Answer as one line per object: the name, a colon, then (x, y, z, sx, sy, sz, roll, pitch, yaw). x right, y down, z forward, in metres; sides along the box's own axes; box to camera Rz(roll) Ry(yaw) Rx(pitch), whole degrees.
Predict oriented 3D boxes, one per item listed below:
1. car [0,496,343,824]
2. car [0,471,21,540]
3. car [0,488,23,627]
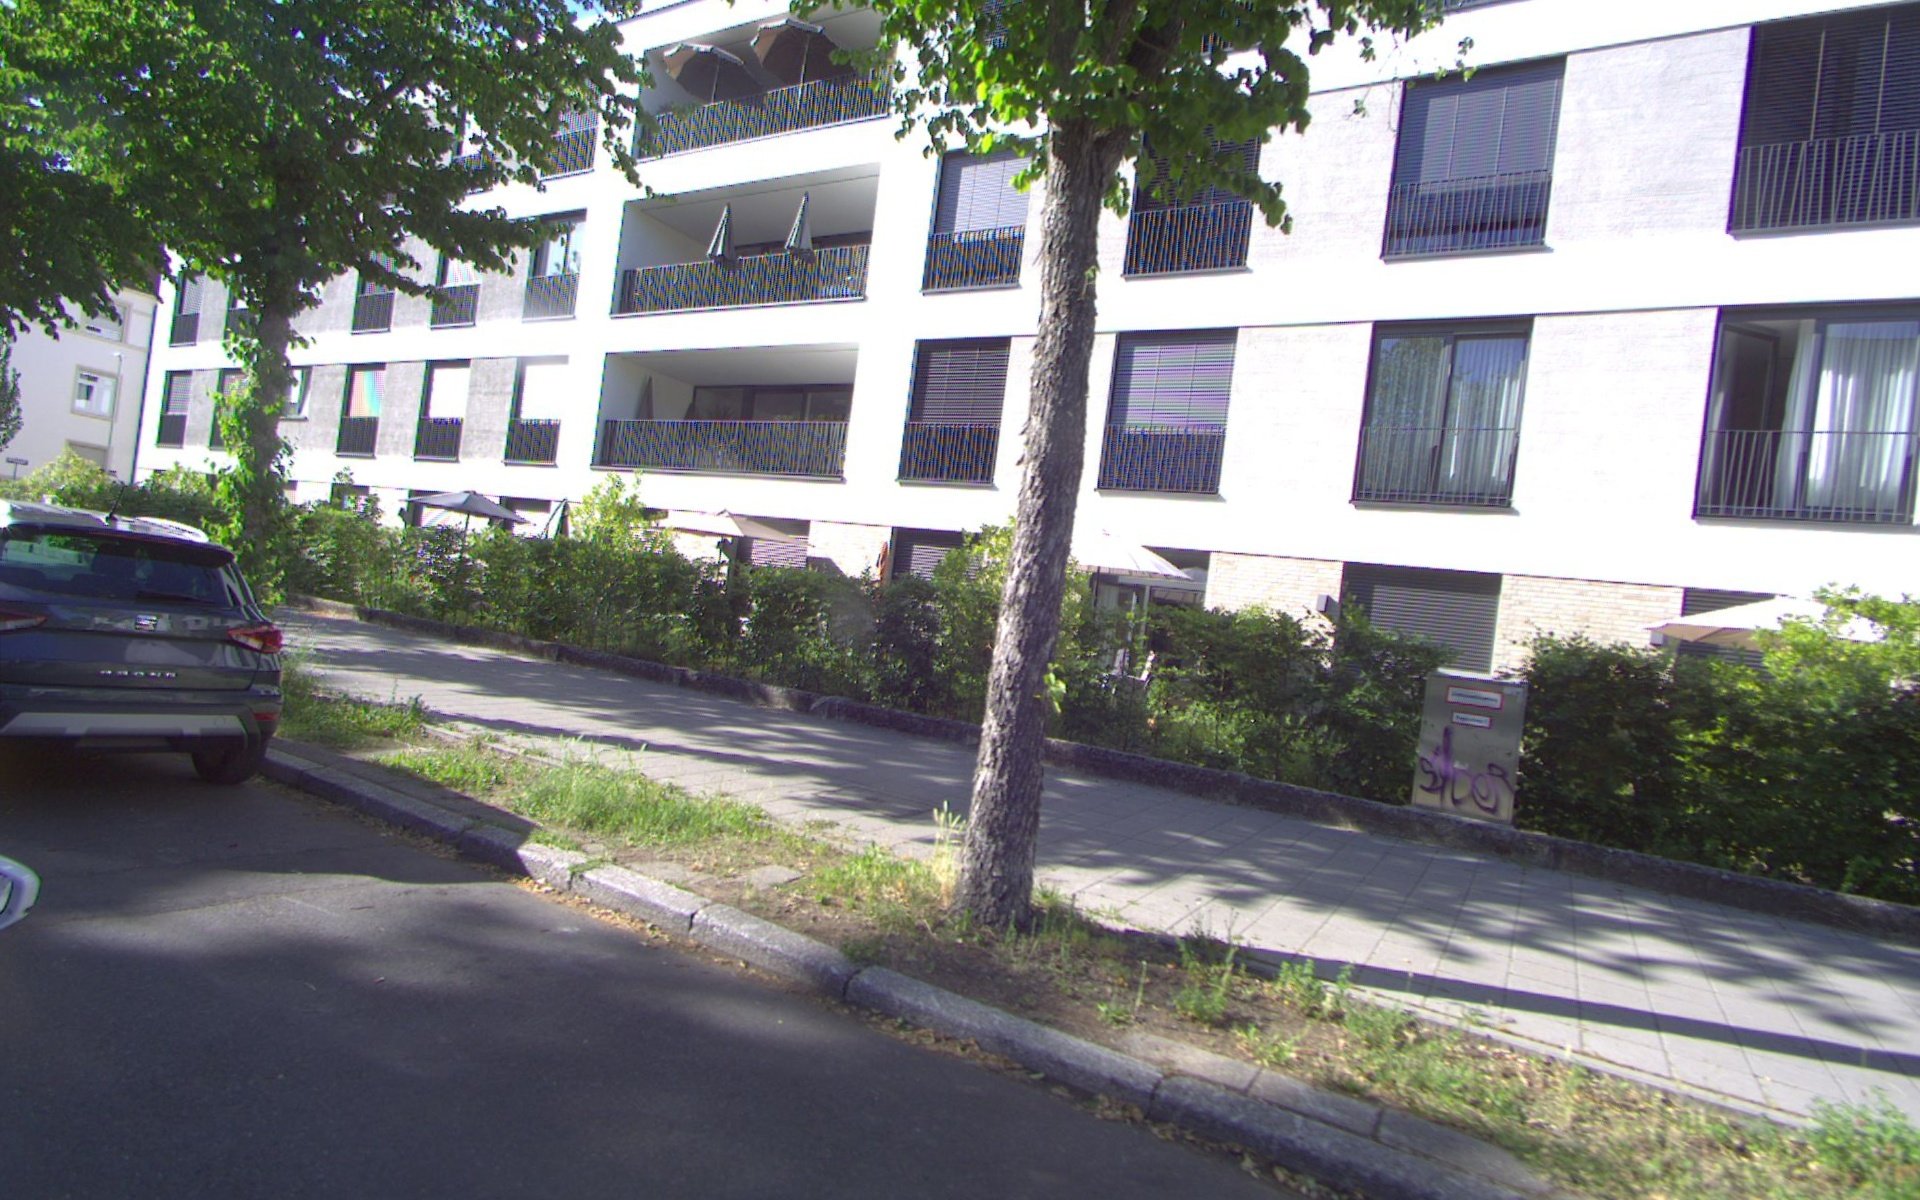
car: (-5.977, 0.137, 6.331, 4.273, 1.534, 1.721, 7, -2, 32)
car: (-34.403, -3.486, 32.832, 2.192, 2.333, 5.061, 7, -1, 8)
car: (-11.089, -0.508, 9.549, 4.738, 1.661, 1.797, 7, -3, 31)
